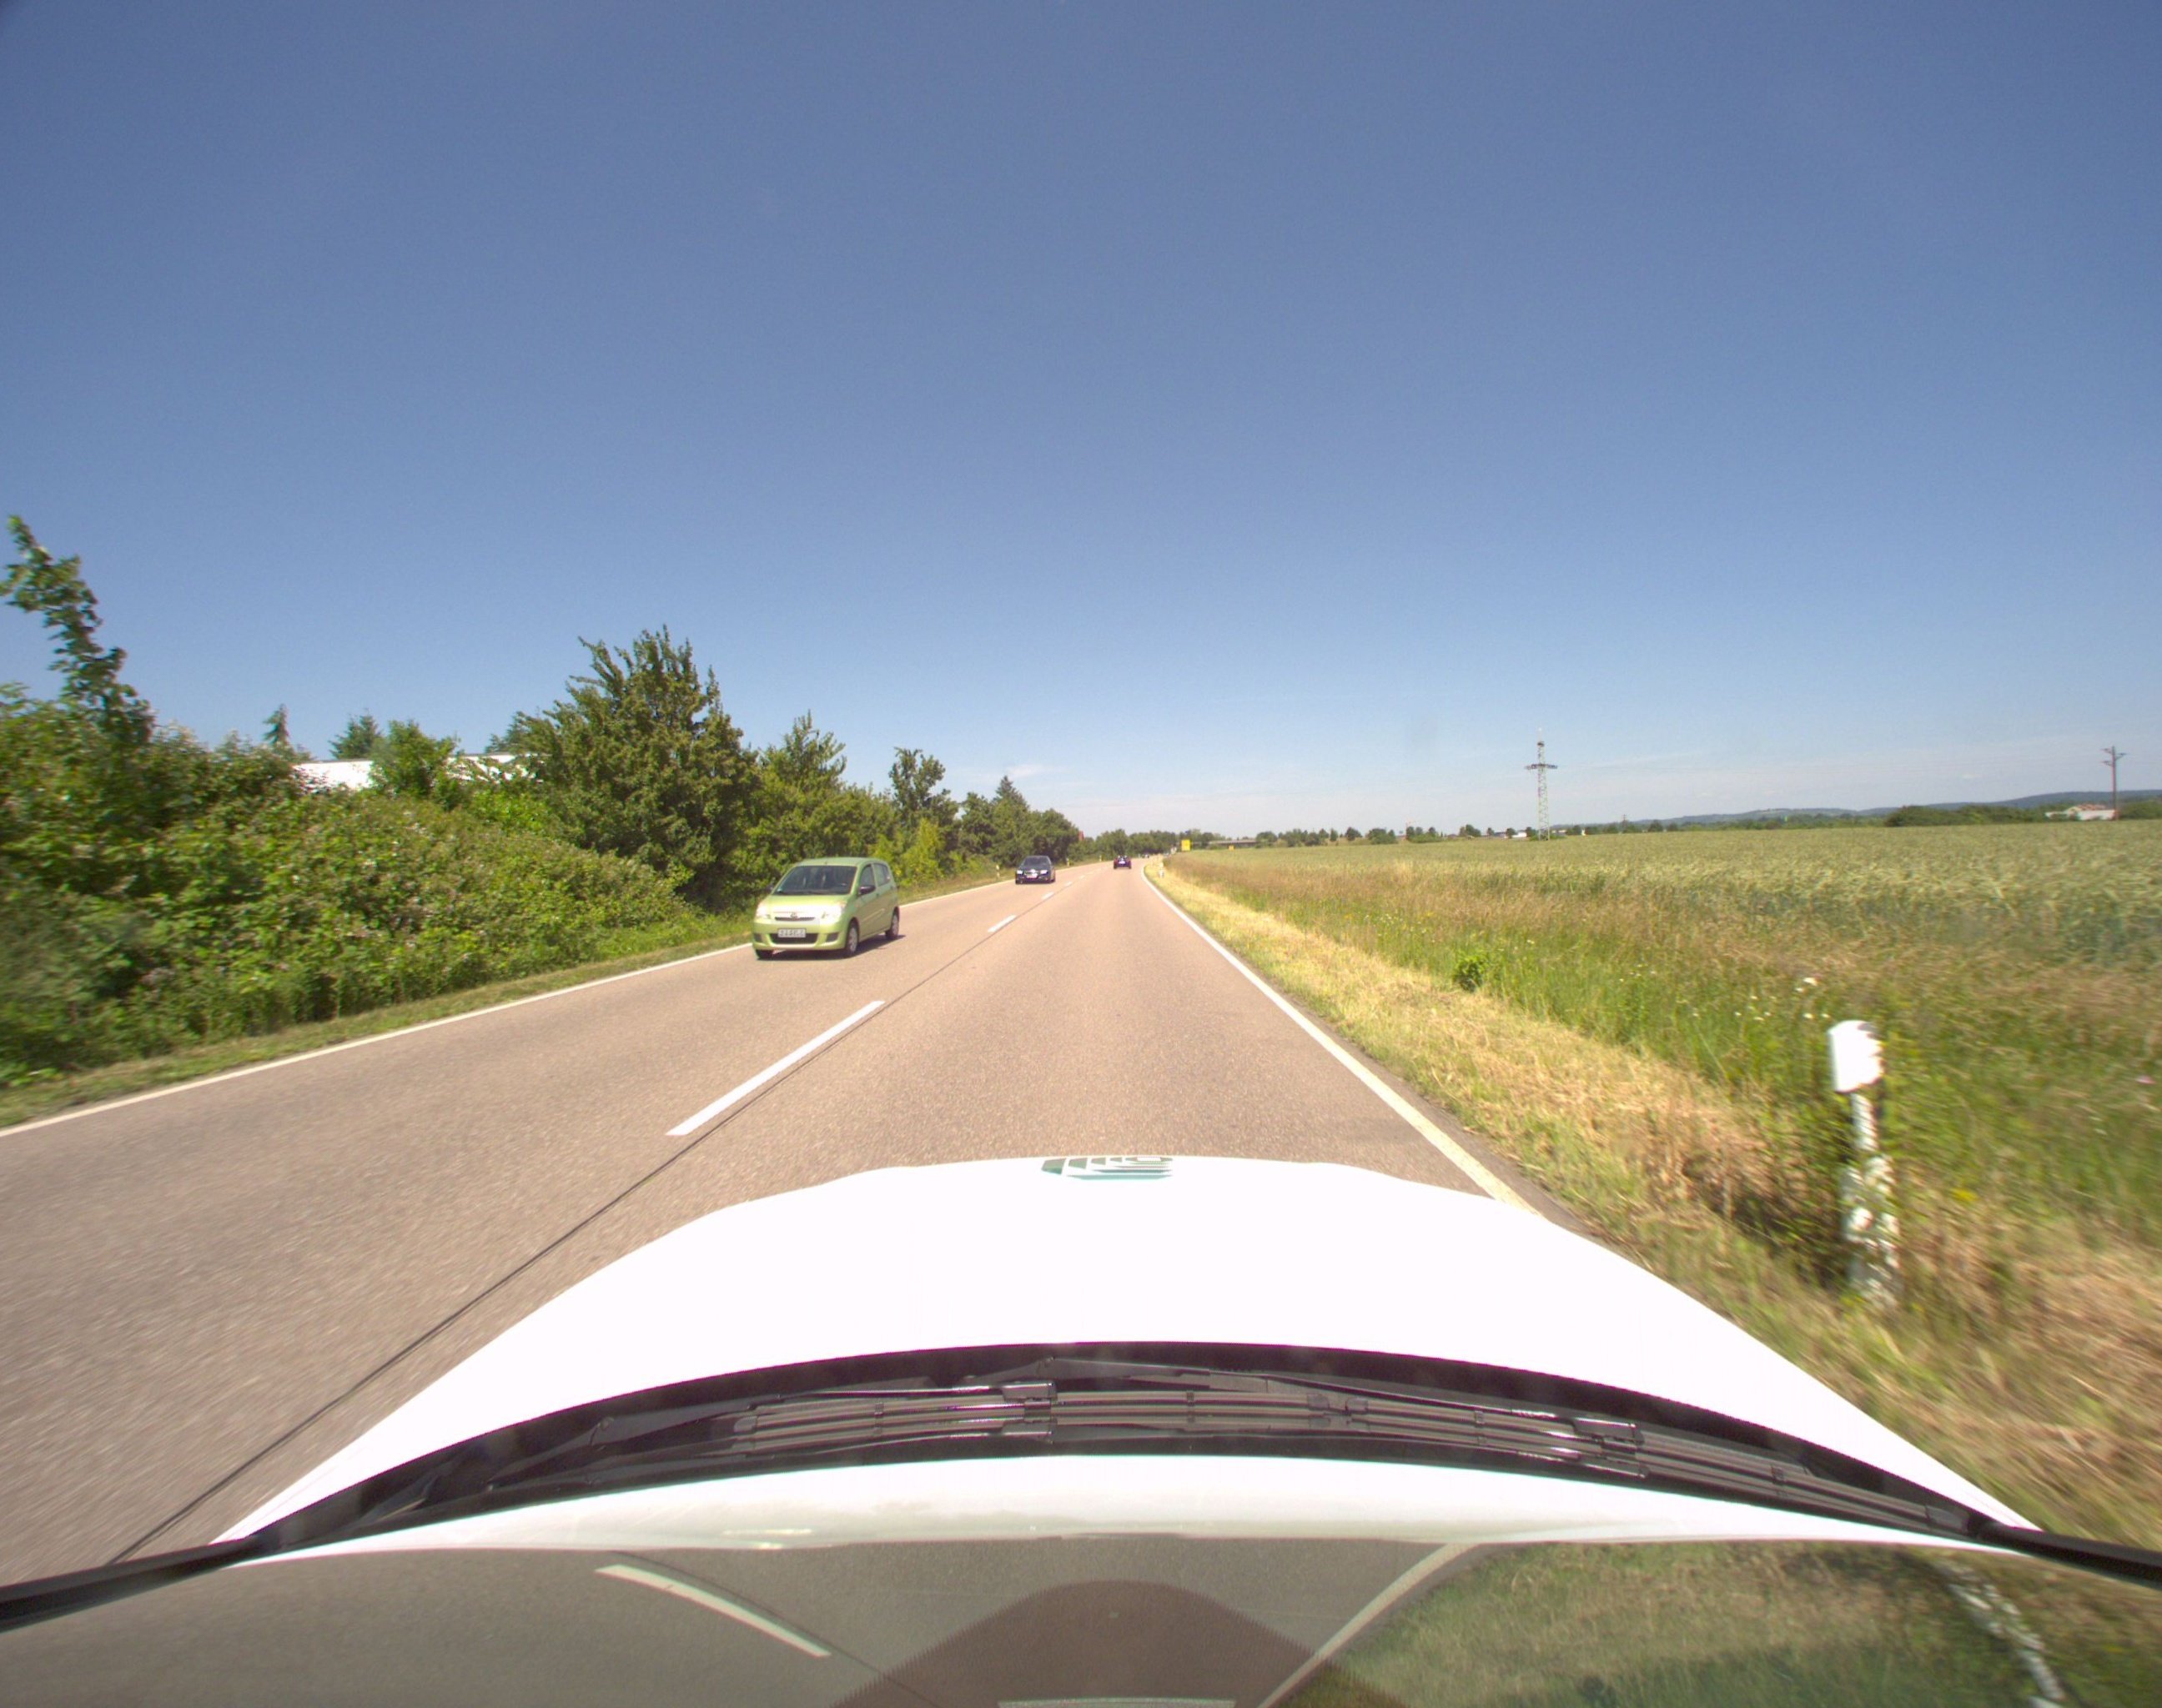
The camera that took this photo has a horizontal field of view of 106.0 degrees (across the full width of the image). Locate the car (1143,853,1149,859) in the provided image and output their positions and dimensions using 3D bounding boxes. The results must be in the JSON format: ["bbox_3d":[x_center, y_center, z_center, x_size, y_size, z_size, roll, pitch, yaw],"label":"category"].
[{"bbox_3d":[18.245,0.523,228.186,1.690,1.566,3.677,-2,0,5],"label":"car"}]

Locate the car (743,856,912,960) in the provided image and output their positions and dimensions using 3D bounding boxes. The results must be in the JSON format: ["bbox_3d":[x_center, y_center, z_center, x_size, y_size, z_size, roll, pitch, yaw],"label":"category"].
[{"bbox_3d":[-4.106,0.793,13.825,1.490,1.495,3.835,-1,0,3],"label":"car"}]

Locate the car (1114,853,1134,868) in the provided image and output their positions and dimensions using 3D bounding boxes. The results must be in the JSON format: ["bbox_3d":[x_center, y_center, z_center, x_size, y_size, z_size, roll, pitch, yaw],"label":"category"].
[{"bbox_3d":[4.361,0.648,82.030,1.806,1.441,4.005,0,0,5],"label":"car"}]

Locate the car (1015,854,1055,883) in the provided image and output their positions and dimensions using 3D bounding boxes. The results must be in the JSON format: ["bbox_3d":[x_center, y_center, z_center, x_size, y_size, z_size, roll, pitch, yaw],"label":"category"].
[{"bbox_3d":[-2.430,0.745,44.168,1.794,1.450,4.534,-1,0,1],"label":"car"}]
